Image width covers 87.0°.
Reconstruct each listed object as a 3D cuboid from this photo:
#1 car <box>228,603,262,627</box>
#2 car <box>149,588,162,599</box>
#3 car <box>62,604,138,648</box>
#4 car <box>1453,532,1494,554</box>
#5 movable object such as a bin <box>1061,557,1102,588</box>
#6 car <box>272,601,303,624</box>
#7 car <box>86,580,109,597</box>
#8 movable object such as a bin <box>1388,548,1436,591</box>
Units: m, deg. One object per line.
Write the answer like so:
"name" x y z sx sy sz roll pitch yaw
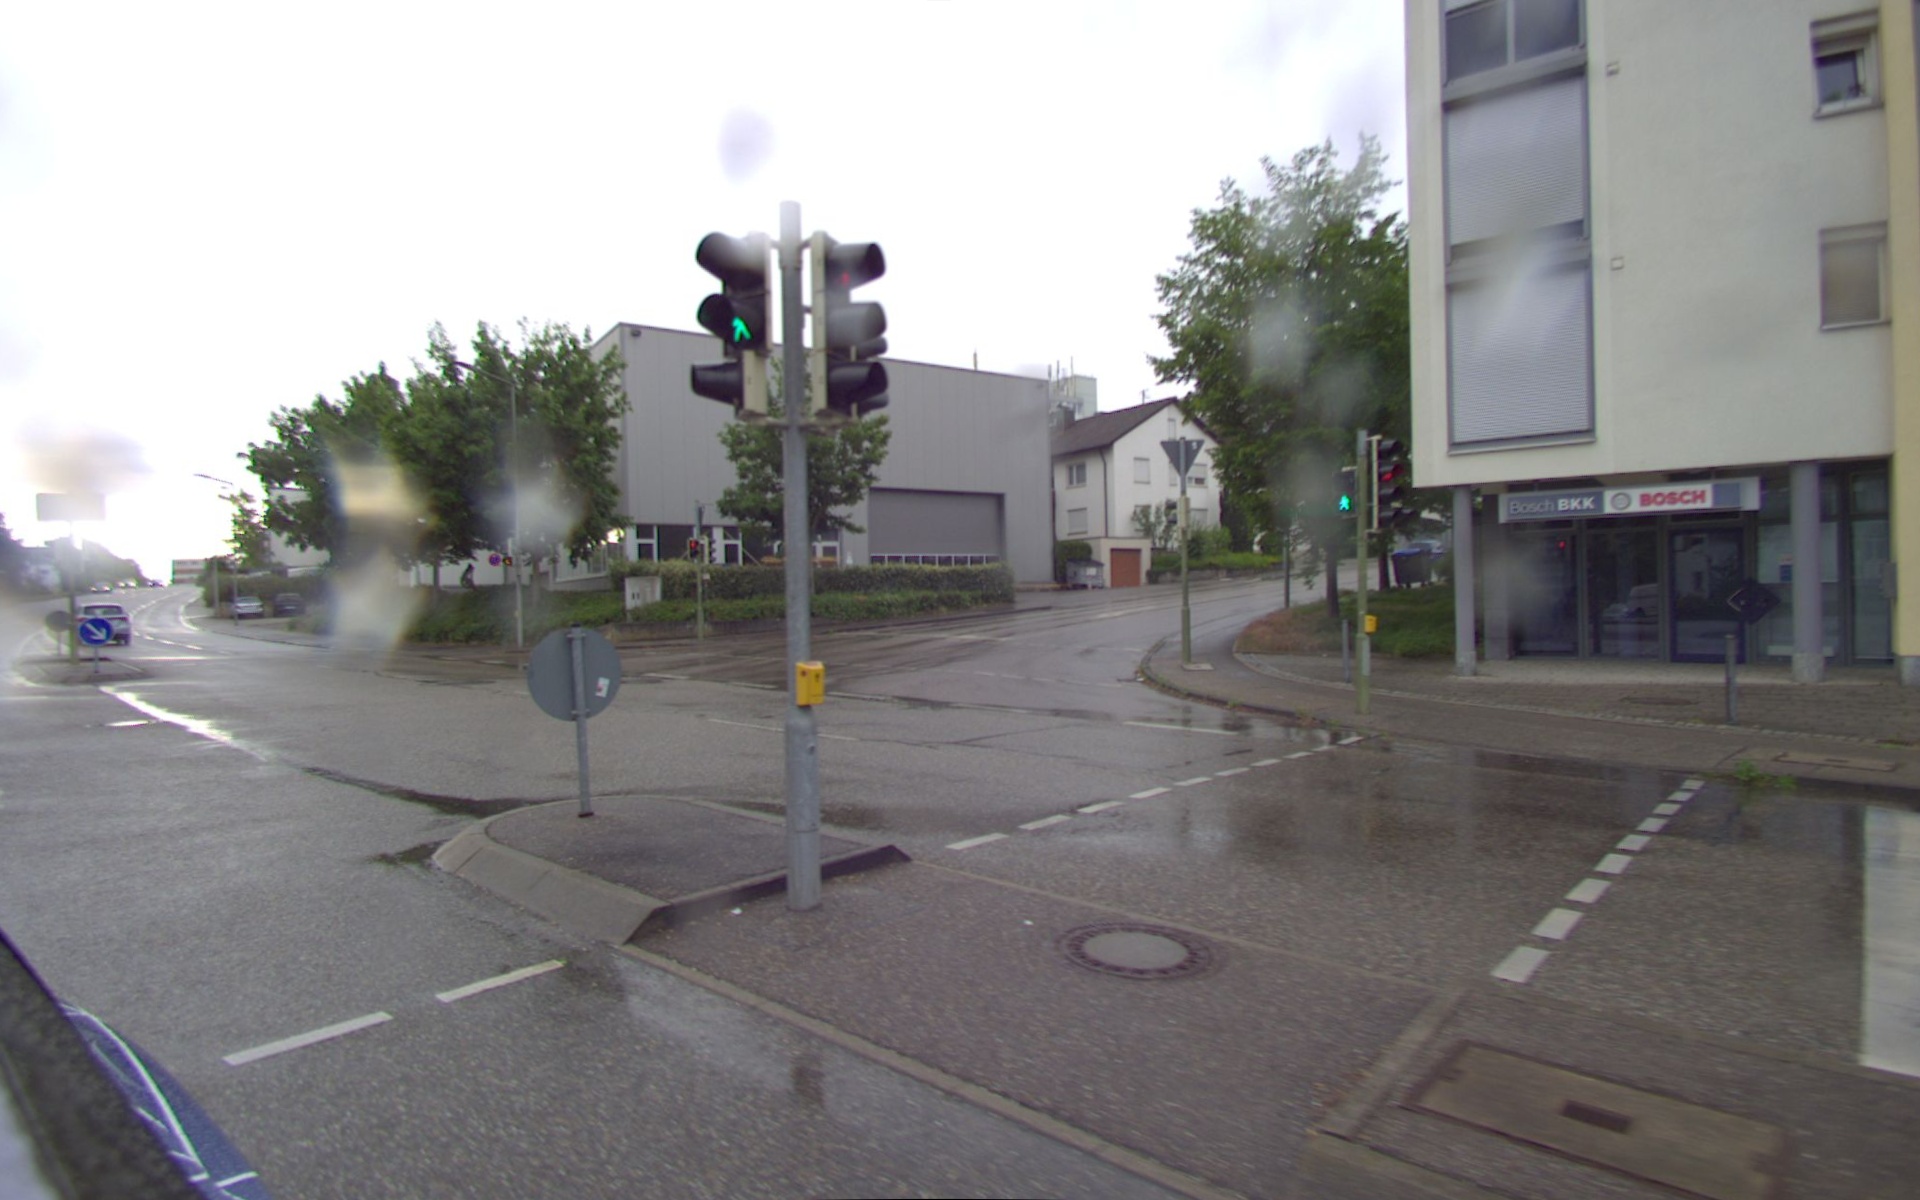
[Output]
"car" -48.367 0.982 68.512 1.709 1.489 4.031 -2 1 -34
"car" -135.809 -1.110 170.851 1.801 1.700 4.008 -1 0 -39
"car" -33.410 0.964 39.277 3.905 1.566 1.671 0 3 42
"car" 39.915 -4.444 78.595 1.849 1.534 3.946 -1 3 41
"movable object such as a bin" 6.324 -1.411 52.690 1.563 1.546 1.453 -3 2 -34
"car" -46.479 0.864 69.917 1.709 1.489 4.031 -2 1 -34
"car" -111.560 -1.473 130.958 1.969 2.028 4.007 -6 4 -39
"movable object such as a bin" 15.178 -1.024 33.968 1.056 1.306 1.185 -8 -2 41
